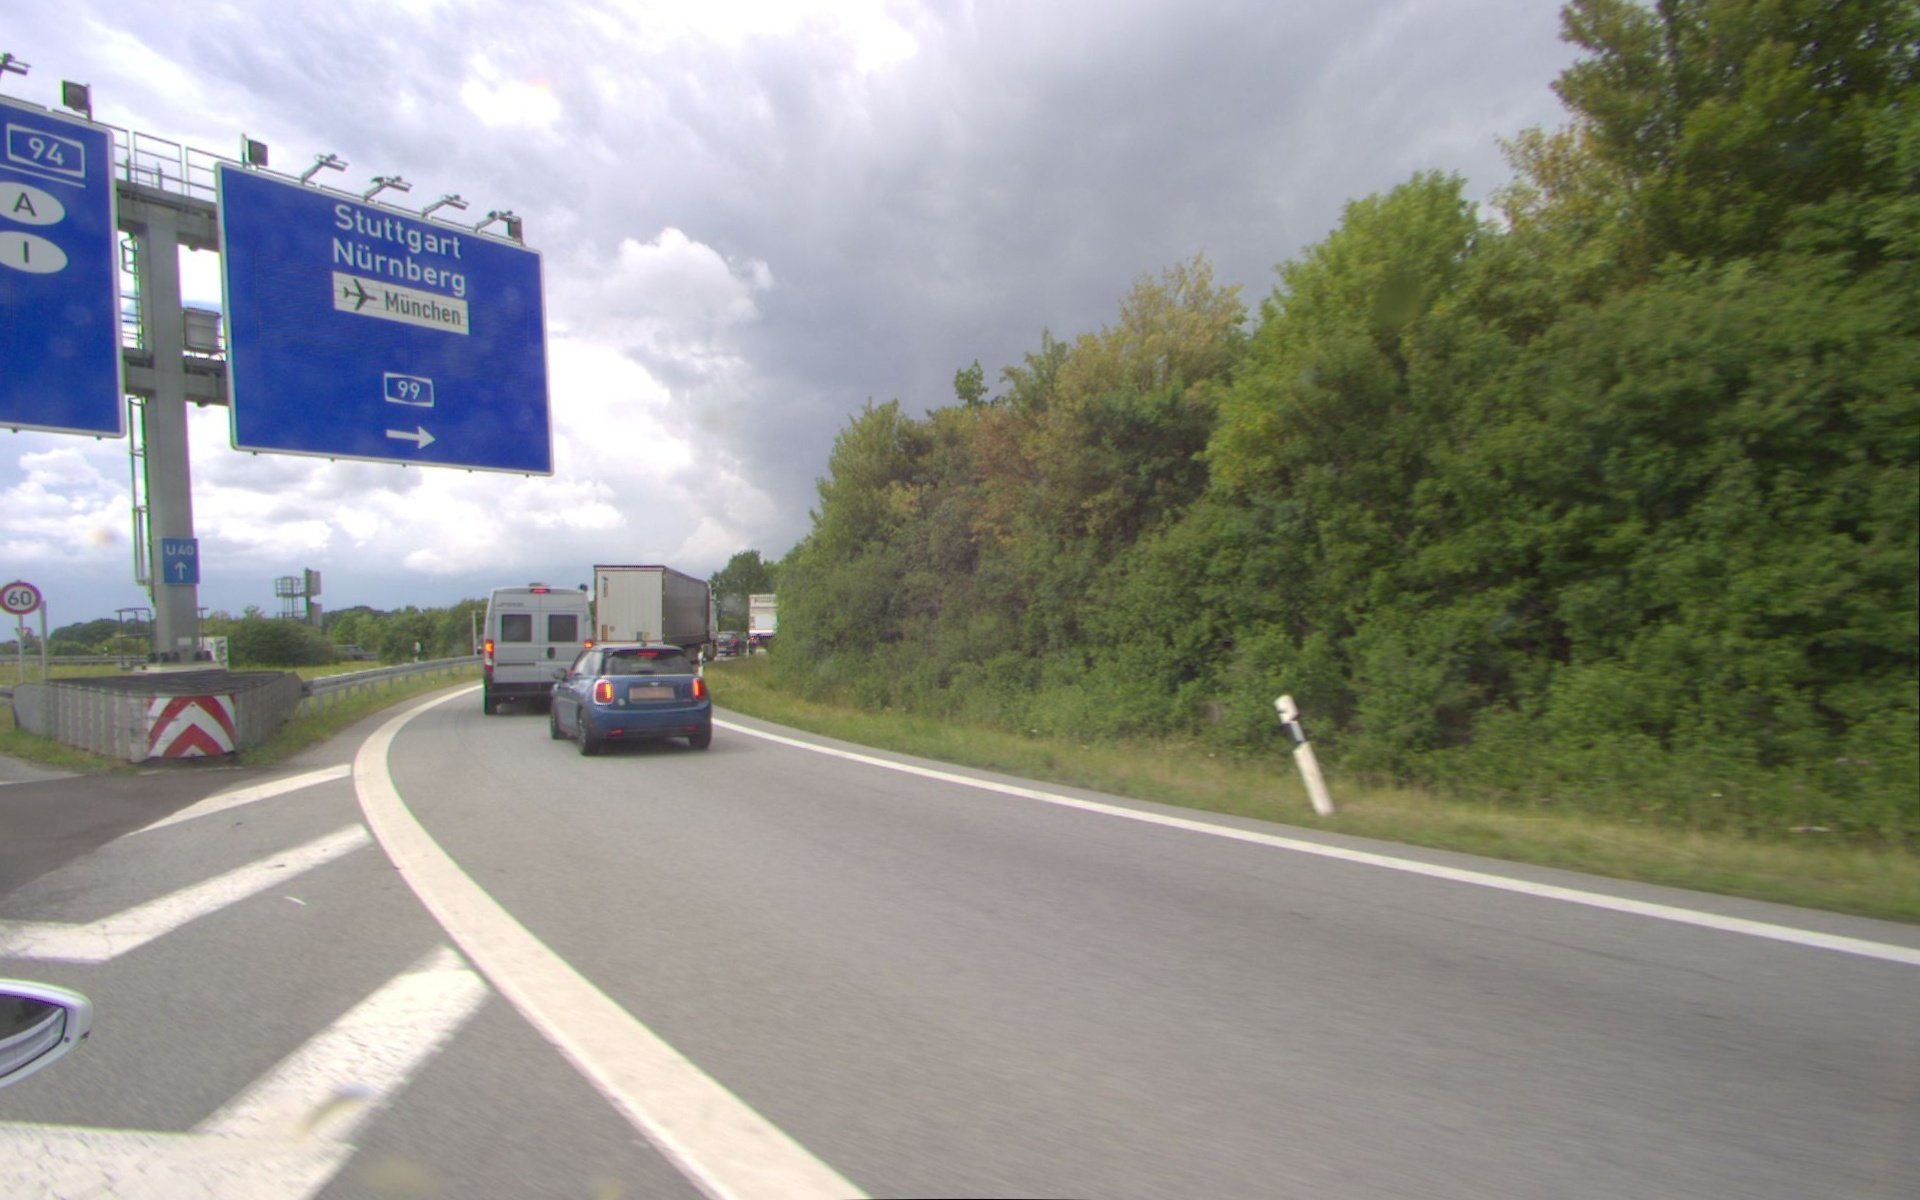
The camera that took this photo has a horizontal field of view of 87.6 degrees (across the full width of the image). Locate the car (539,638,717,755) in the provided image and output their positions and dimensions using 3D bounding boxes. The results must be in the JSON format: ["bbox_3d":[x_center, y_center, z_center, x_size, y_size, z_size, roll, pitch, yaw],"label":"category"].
[{"bbox_3d":[-4.894,1.285,14.457,1.710,1.437,3.647,0,-2,-31],"label":"car"}]

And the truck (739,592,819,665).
[{"bbox_3d":[-12.230,1.931,68.563,3.219,4.675,8.993,-1,-1,4],"label":"truck"}]

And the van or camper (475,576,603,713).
[{"bbox_3d":[-9.271,0.920,22.316,2.263,2.601,6.144,-1,-1,-22],"label":"van or camper"}]

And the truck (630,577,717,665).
[{"bbox_3d":[-14.451,1.103,51.028,3.306,4.147,6.789,0,-1,-8],"label":"truck"}]

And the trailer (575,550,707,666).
[{"bbox_3d":[-13.363,0.487,43.308,3.278,4.246,13.031,0,-2,-8],"label":"trailer"}]
